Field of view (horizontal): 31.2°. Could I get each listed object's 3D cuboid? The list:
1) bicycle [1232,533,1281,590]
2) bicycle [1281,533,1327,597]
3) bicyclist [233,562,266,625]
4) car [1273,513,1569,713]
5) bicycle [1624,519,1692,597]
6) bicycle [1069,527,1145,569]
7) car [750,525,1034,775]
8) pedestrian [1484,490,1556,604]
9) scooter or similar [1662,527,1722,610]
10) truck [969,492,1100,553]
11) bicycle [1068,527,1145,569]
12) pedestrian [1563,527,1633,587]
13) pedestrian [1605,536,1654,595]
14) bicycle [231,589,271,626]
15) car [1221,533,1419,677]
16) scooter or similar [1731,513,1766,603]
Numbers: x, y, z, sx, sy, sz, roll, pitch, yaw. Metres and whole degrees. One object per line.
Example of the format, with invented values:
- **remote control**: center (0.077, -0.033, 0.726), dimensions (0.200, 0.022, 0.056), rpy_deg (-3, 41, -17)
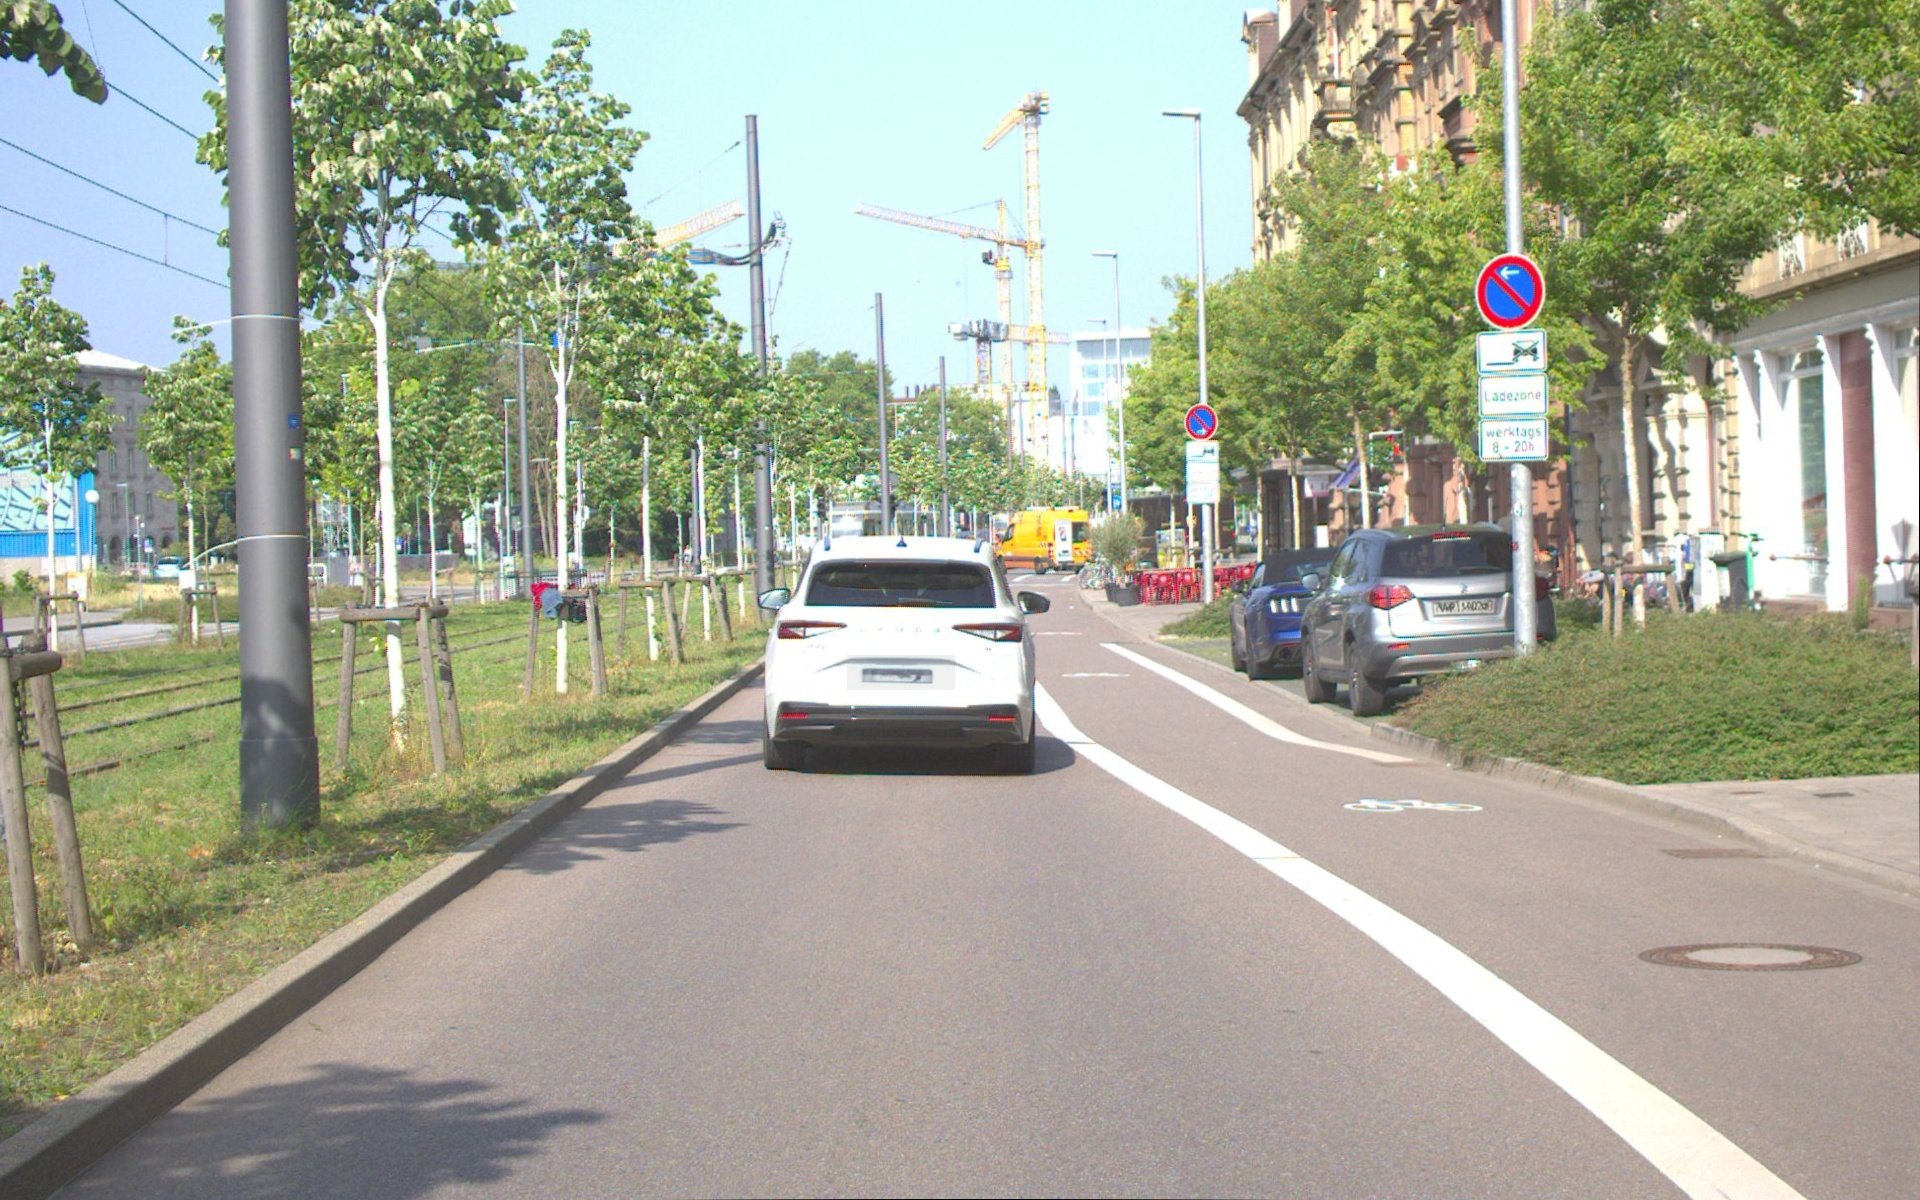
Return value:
- **bicycle**: center (6.026, -0.788, 69.867), dimensions (0.595, 1.118, 1.927), rpy_deg (-2, 1, -6)
- **bicycle**: center (6.203, -0.636, 61.961), dimensions (0.505, 1.056, 1.712), rpy_deg (-3, 2, 15)
- **bicyclist**: center (-20.165, -0.185, 97.604), dimensions (0.647, 1.730, 0.919), rpy_deg (-3, 1, 0)
- **car**: center (4.049, 0.060, 30.855), dimensions (1.769, 1.583, 4.249), rpy_deg (-3, 2, -4)
- **bicycle**: center (9.991, -0.605, 49.236), dimensions (0.450, 1.079, 1.449), rpy_deg (-2, 1, -9)
- **bicycle**: center (4.425, -1.568, 103.621), dimensions (2.239, 1.100, 0.519), rpy_deg (-4, 1, 2)
- **car**: center (-0.446, 0.276, 24.433), dimensions (1.817, 1.584, 4.407), rpy_deg (-1, 1, 0)
- **pedestrian**: center (8.597, -0.816, 52.805), dimensions (0.823, 1.690, 0.793), rpy_deg (-4, 1, -4)
- **scooter or similar**: center (10.195, -0.447, 47.886), dimensions (0.607, 1.121, 0.932), rpy_deg (-2, 1, 0)
- **truck**: center (2.922, -3.064, 137.079), dimensions (2.213, 2.310, 5.889), rpy_deg (-2, 2, -34)
- **bicycle**: center (4.400, -1.560, 103.066), dimensions (2.239, 1.100, 0.588), rpy_deg (-4, 1, 2)
- **pedestrian**: center (9.990, -0.671, 53.827), dimensions (0.877, 0.873, 0.711), rpy_deg (-4, 1, -3)
- **pedestrian**: center (10.158, -0.528, 52.134), dimensions (0.570, 0.852, 0.457), rpy_deg (-4, 1, -6)
- **bicycle**: center (-20.152, 0.208, 97.682), dimensions (0.662, 0.958, 2.078), rpy_deg (-3, 1, 0)
- **car**: center (3.945, 0.007, 38.323), dimensions (1.736, 1.391, 4.715), rpy_deg (-3, 1, 1)
- **scooter or similar**: center (10.155, -0.547, 44.295), dimensions (0.289, 1.130, 1.088), rpy_deg (-1, 1, 6)
